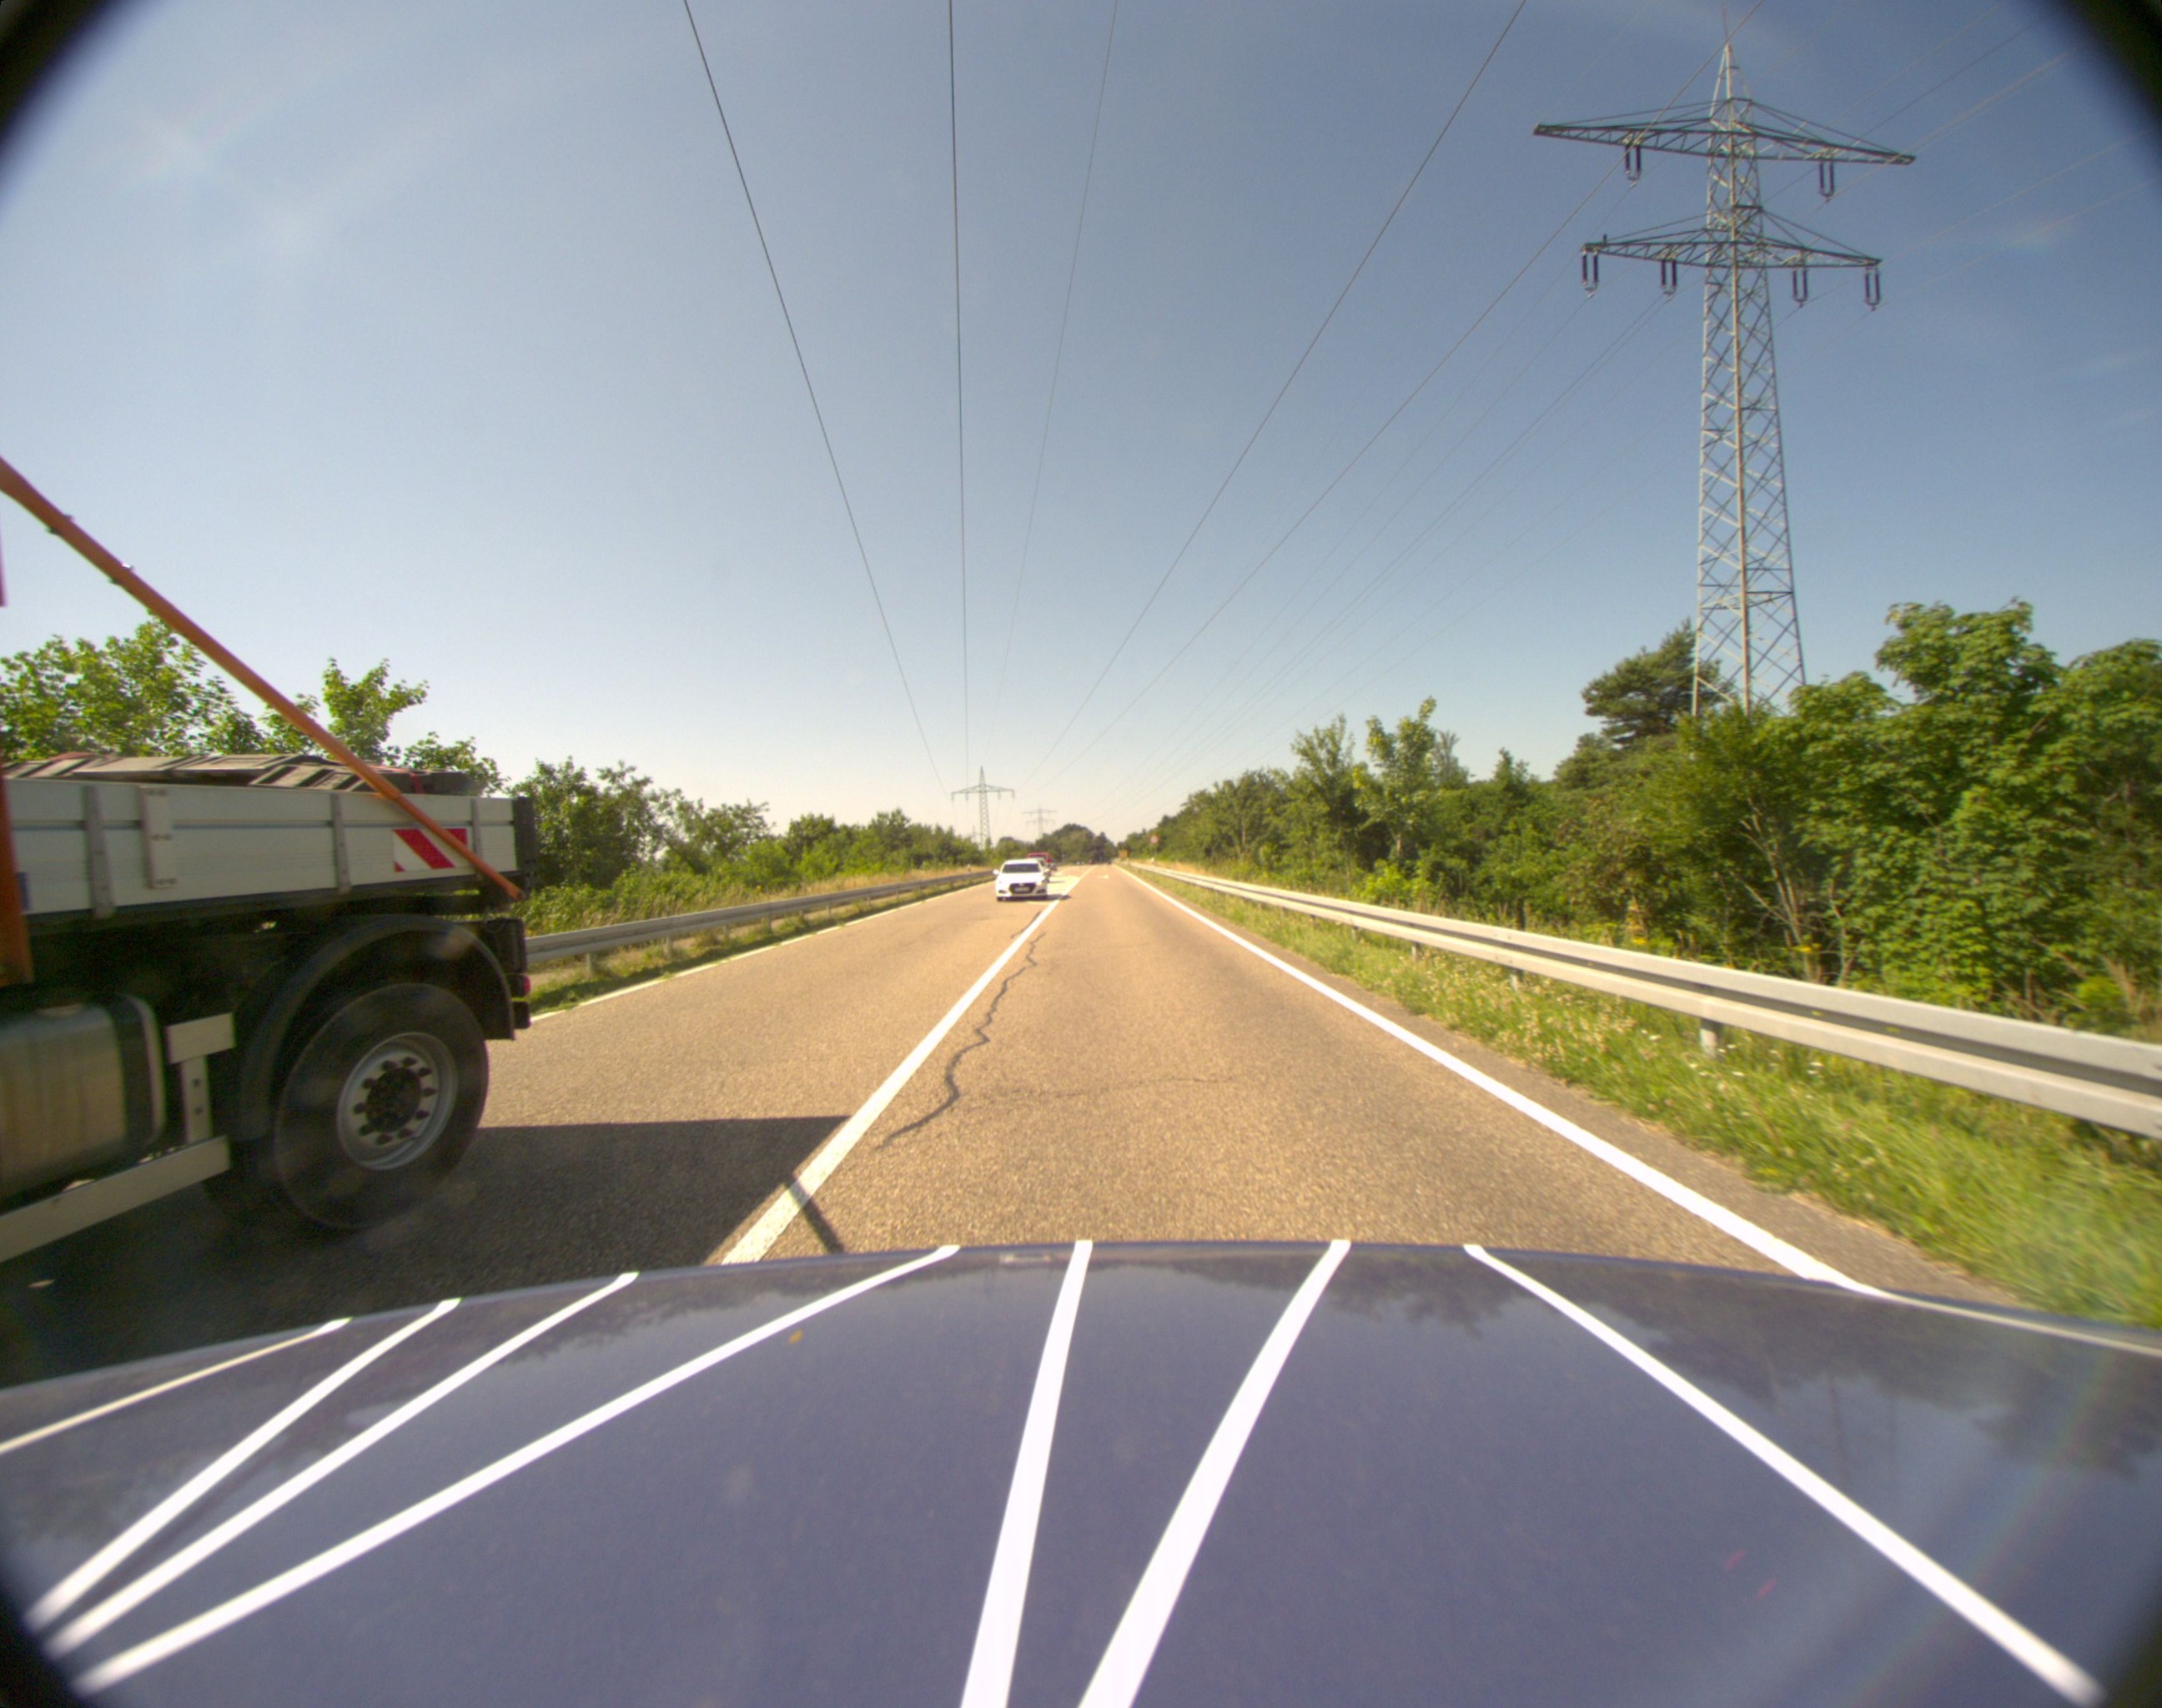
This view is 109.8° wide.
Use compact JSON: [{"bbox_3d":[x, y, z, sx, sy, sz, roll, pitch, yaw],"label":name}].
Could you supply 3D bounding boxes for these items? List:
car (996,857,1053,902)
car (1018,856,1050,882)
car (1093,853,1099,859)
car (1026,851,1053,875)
[{"bbox_3d":[-2.166,0.906,28.751,1.923,1.496,4.791,-2,0,-5],"label":"car"},{"bbox_3d":[-3.045,0.906,48.345,1.923,1.540,4.791,-2,0,-5],"label":"car"},{"bbox_3d":[4.225,0.601,215.998,1.833,1.574,4.000,0,0,0],"label":"car"},{"bbox_3d":[-3.523,0.733,65.292,2.126,1.934,5.018,-2,0,-1],"label":"car"}]
